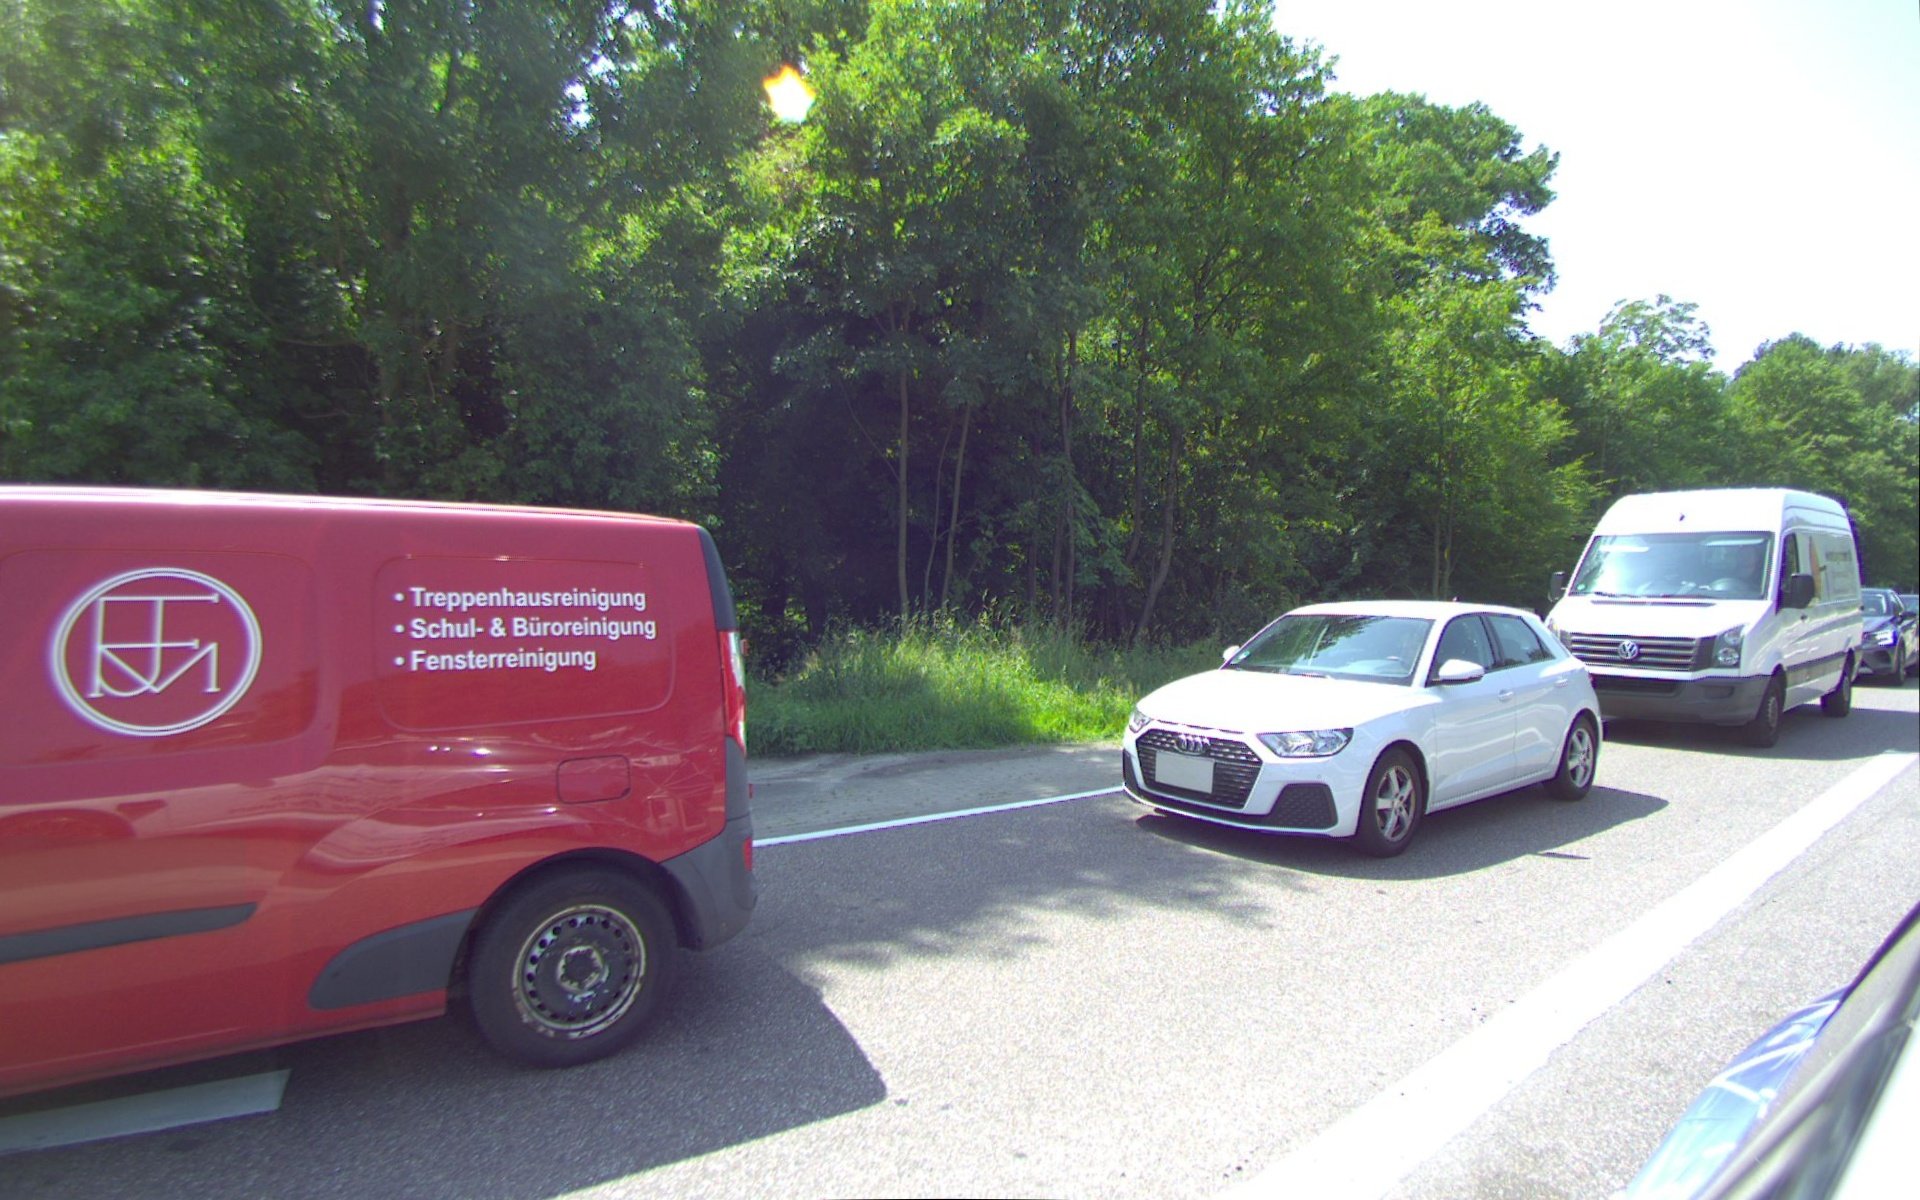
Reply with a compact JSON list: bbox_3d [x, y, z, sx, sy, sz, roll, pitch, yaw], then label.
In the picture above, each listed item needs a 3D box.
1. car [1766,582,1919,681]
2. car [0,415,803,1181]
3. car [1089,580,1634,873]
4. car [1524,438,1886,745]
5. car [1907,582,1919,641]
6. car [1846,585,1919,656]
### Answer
[{"bbox_3d":[15.307,0.445,17.239,4.156,1.479,1.794,-1,1,-42],"label":"car"},{"bbox_3d":[-2.889,0.470,3.147,4.406,1.846,1.800,0,0,-29],"label":"car"},{"bbox_3d":[2.883,0.616,6.916,3.927,1.453,1.694,-1,0,-38],"label":"car"},{"bbox_3d":[8.675,-0.100,11.505,5.952,2.678,1.974,0,0,-40],"label":"car"},{"bbox_3d":[25.614,0.281,25.802,4.156,1.457,1.795,-1,2,-42],"label":"car"},{"bbox_3d":[20.133,0.380,21.246,4.156,1.372,1.795,-1,2,-42],"label":"car"}]
